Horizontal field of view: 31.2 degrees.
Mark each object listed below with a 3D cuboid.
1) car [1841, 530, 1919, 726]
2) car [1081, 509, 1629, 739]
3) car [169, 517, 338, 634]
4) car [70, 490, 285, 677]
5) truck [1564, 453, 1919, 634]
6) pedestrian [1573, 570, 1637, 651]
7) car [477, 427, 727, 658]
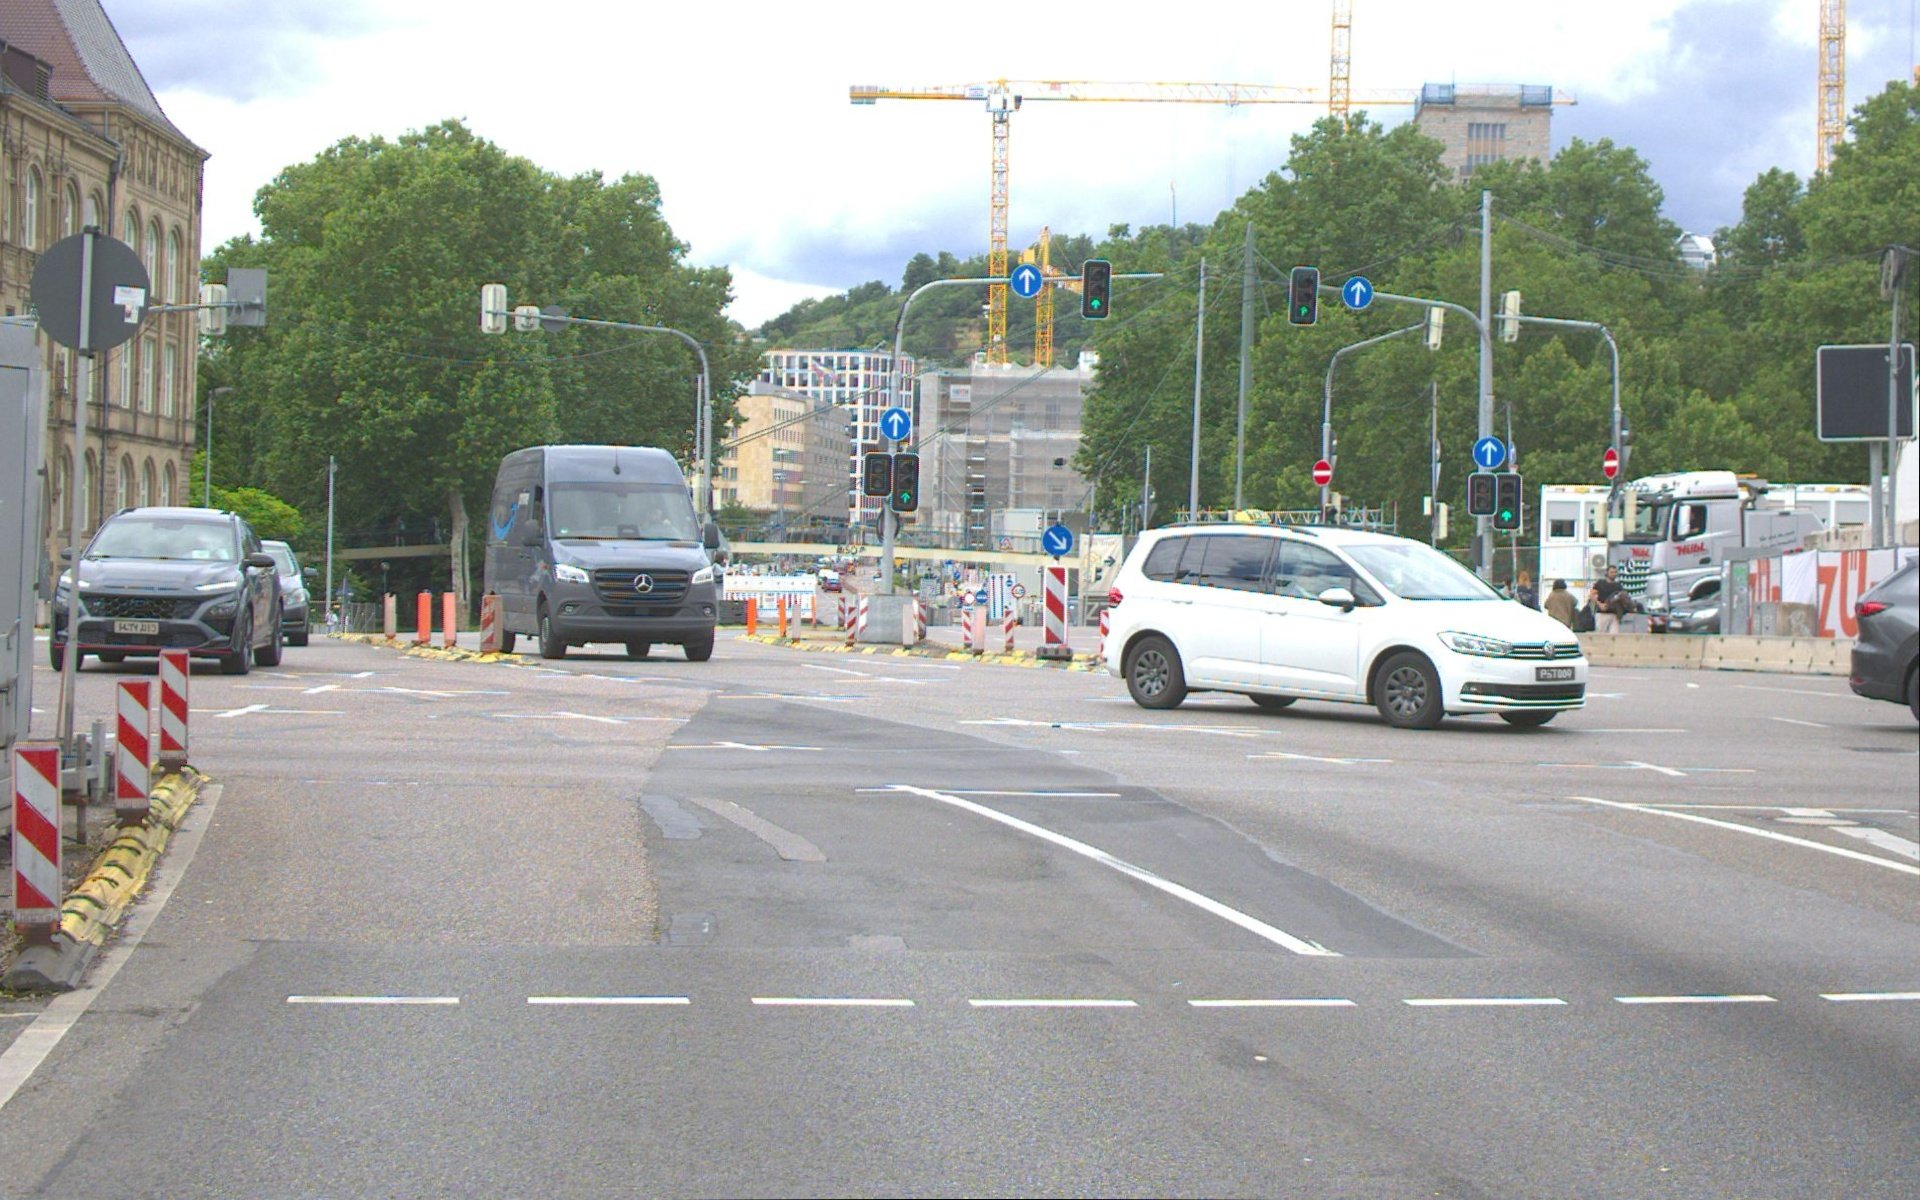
[{"bbox_3d":[10.100,0.296,29.388,4.602,1.664,1.881,2,2,29],"label":"car"},{"bbox_3d":[3.278,0.147,29.249,1.879,1.730,4.442,0,2,-43],"label":"car"},{"bbox_3d":[-9.734,-0.363,47.655,1.706,1.508,4.289,1,1,-4],"label":"car"},{"bbox_3d":[-7.594,-0.210,33.453,1.877,1.664,4.446,1,1,-12],"label":"car"},{"bbox_3d":[21.235,-1.281,82.242,13.022,4.027,3.952,1,1,-20],"label":"truck"},{"bbox_3d":[11.280,0.173,60.109,0.796,1.373,0.905,1,1,-10],"label":"pedestrian"},{"bbox_3d":[-4.475,-0.726,41.996,2.056,2.585,6.016,1,1,-15],"label":"car"}]
